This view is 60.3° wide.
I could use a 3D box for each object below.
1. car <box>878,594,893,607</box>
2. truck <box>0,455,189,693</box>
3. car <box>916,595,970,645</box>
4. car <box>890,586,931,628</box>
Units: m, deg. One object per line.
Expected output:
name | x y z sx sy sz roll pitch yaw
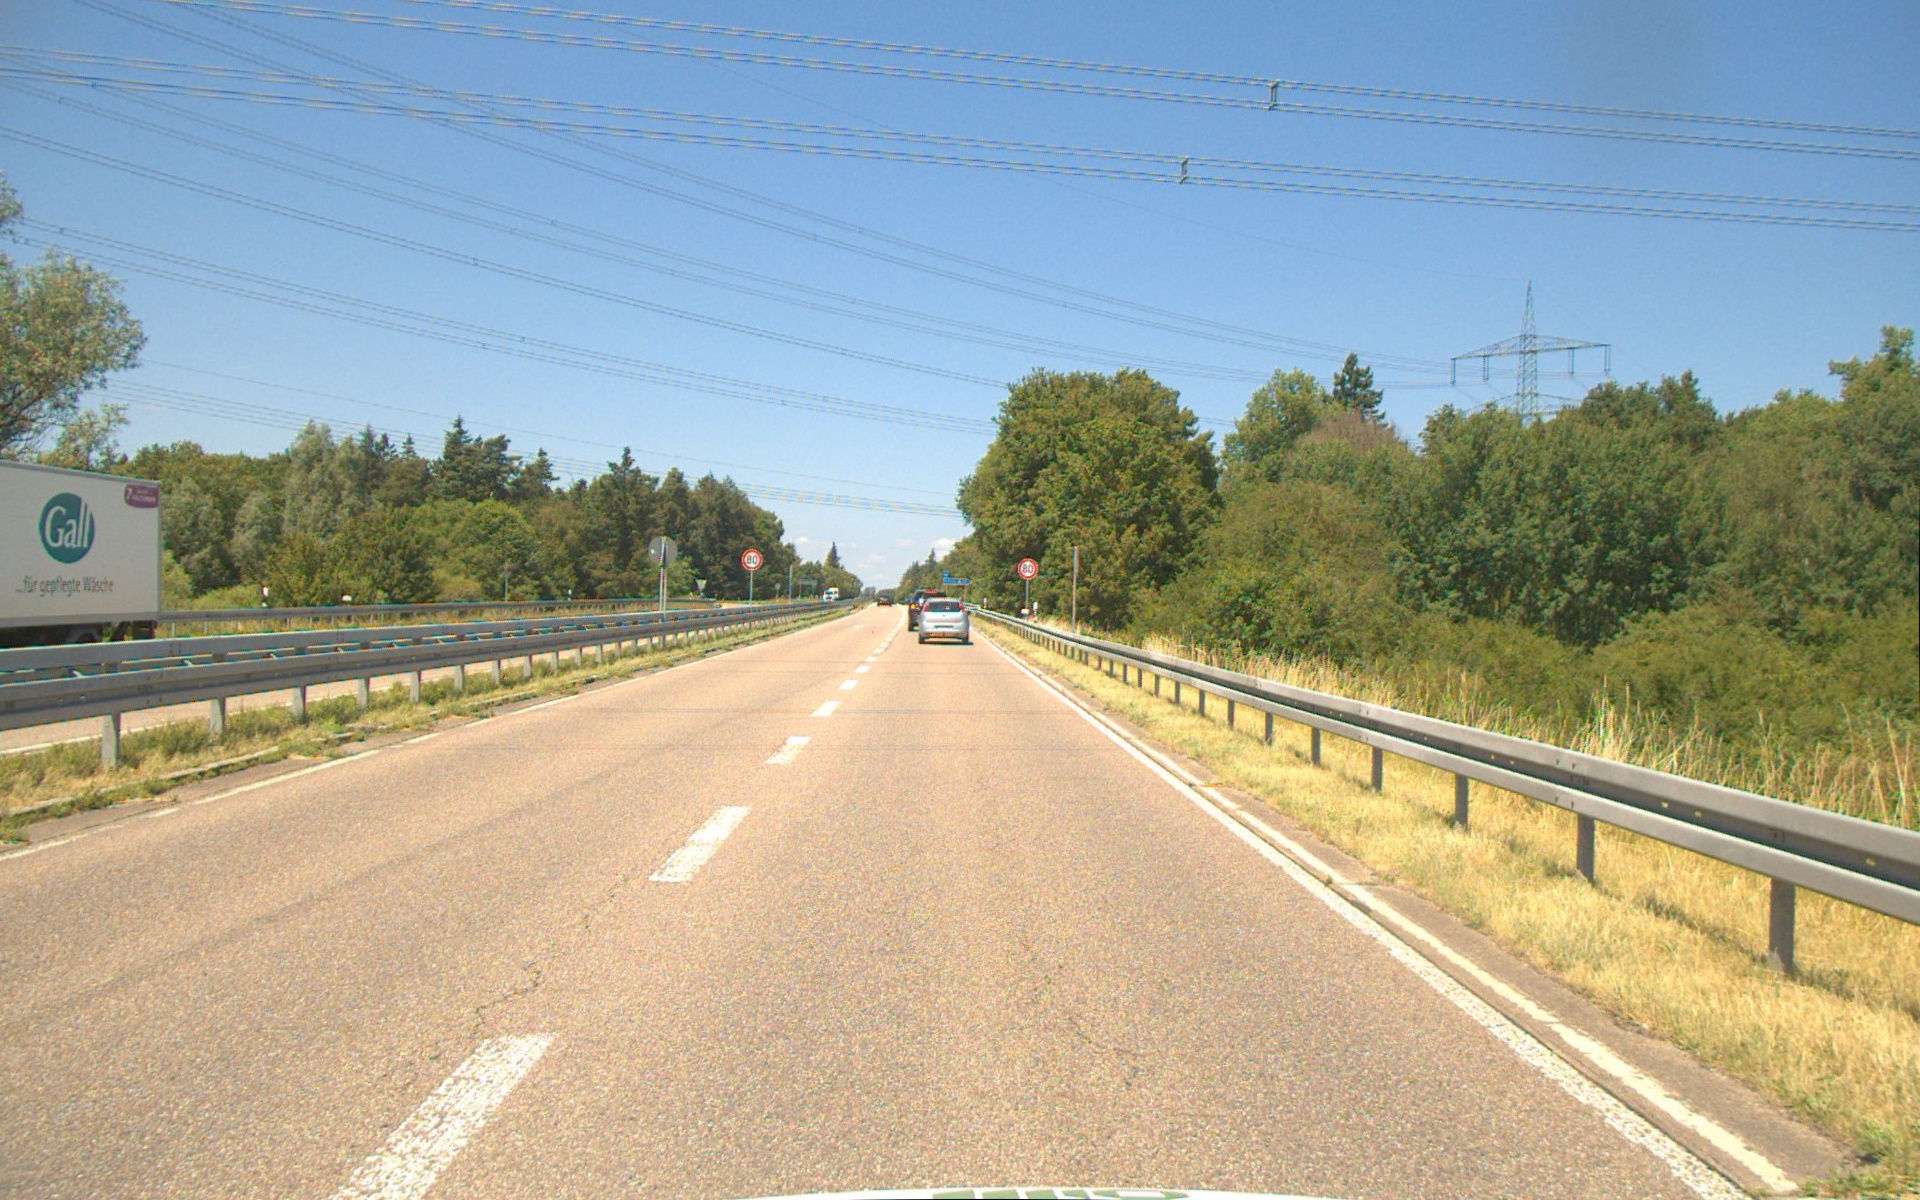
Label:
car | -9.165 0.037 203.149 1.678 1.497 3.572 3 0 -2
truck | -14.450 -0.366 24.051 2.663 3.249 8.403 0 0 -1
car | -0.578 0.630 54.138 1.607 1.493 3.417 3 0 -2
car | -2.158 0.293 71.085 1.608 1.682 3.572 3 0 -3
